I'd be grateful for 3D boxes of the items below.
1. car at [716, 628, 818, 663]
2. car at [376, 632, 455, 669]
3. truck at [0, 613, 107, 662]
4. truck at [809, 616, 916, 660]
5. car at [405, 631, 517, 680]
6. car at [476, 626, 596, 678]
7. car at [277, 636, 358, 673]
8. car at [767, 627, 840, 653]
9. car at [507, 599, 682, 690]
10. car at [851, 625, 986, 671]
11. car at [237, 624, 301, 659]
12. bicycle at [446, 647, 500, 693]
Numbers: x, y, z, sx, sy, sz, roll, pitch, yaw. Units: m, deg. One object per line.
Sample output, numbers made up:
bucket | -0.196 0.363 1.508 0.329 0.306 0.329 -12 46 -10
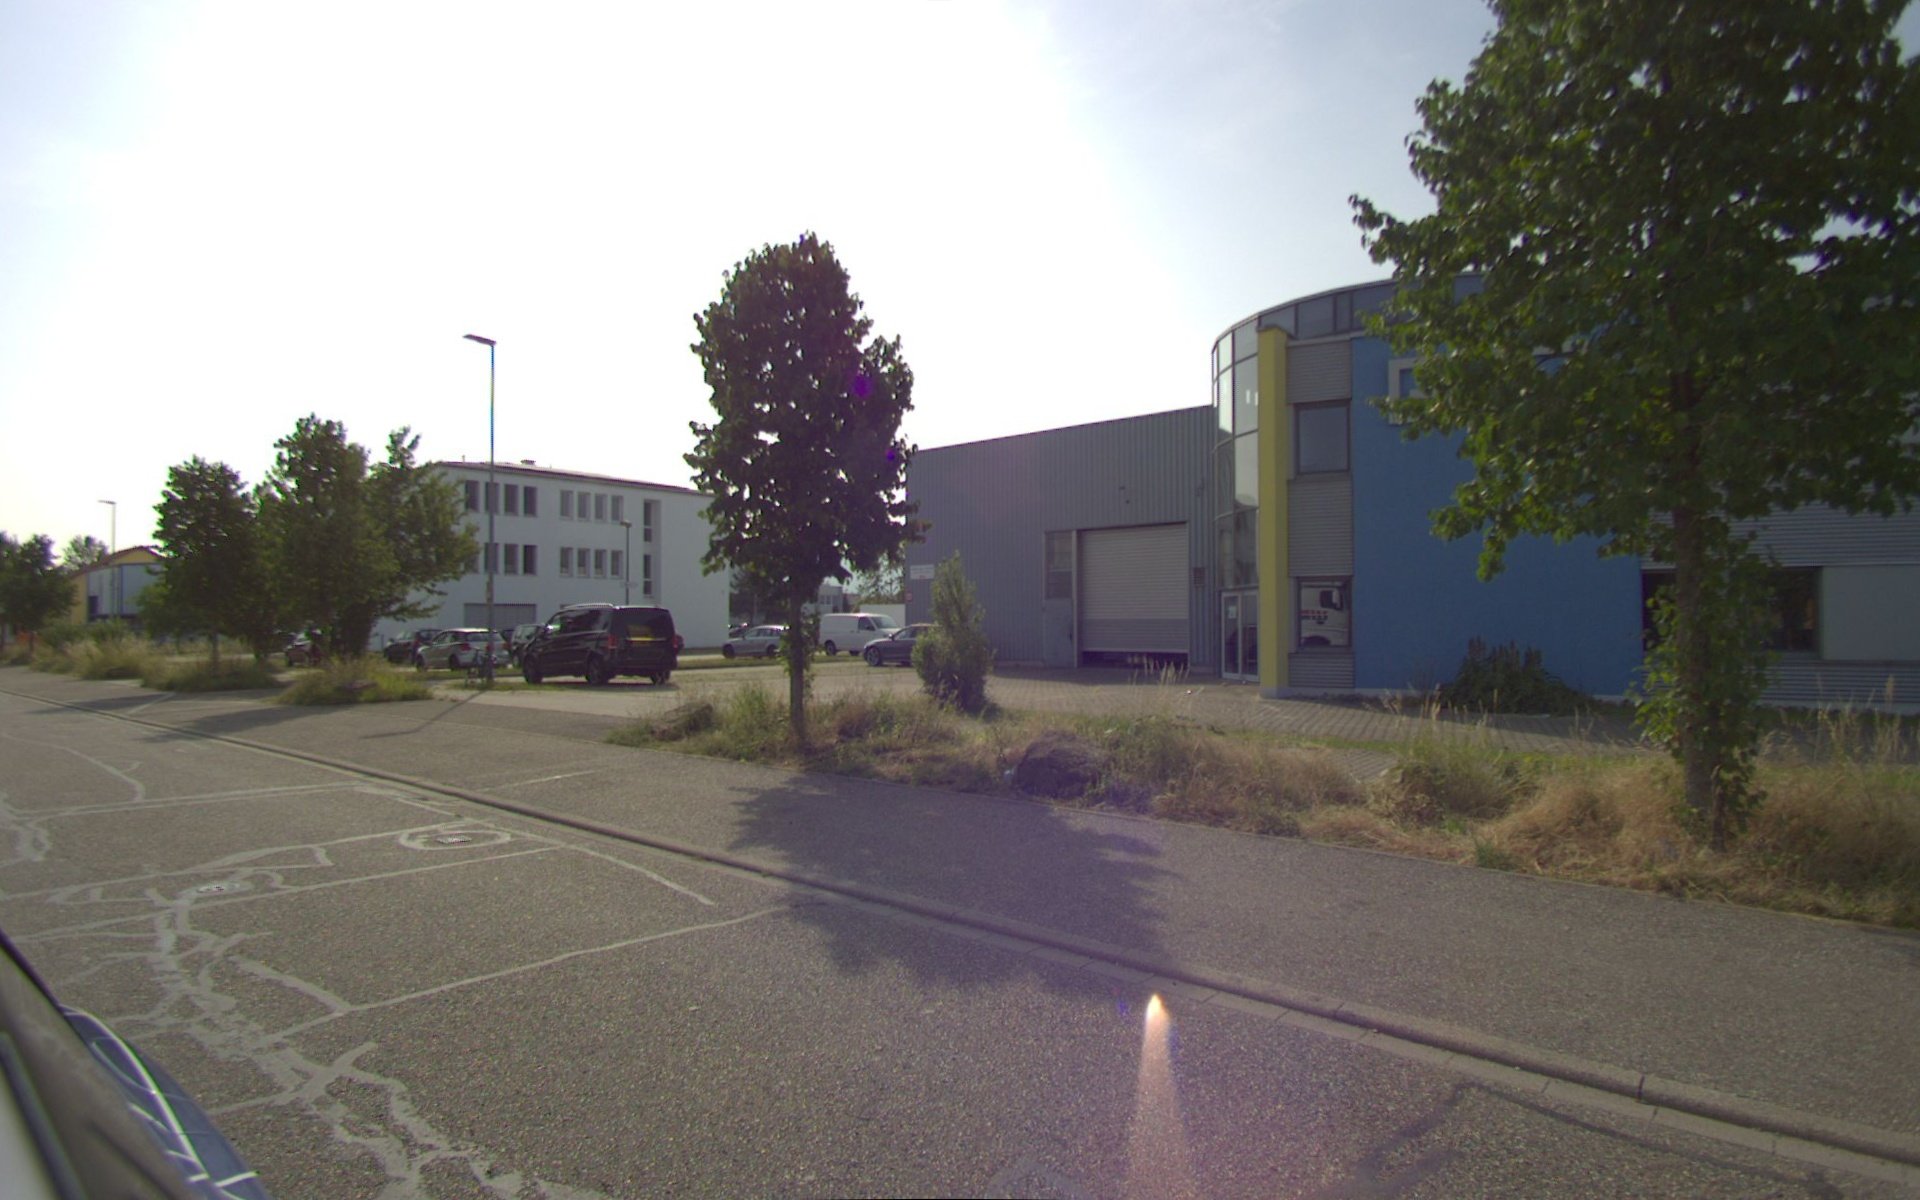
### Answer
car | -8.143 1.893 42.518 4.375 1.383 1.716 -2 -2 37
car | -23.253 2.124 43.161 3.917 1.479 1.736 -2 -2 42
truck | -56.884 2.319 61.503 2.480 2.855 8.842 1 -3 0
truck | -4.555 1.757 46.889 4.946 1.918 1.974 -2 -2 38
car | -16.154 1.757 32.683 3.913 1.460 1.768 -2 -2 39
car | -14.356 1.710 34.179 4.505 1.619 1.922 -2 -2 40
car | -25.726 2.148 40.493 3.917 1.420 1.736 -2 -2 42
car | -9.206 2.325 59.393 4.562 1.479 1.736 -2 -2 42
car | -9.110 1.102 25.017 4.987 2.029 1.862 -2 -3 41
car | -1.487 1.618 34.746 4.778 1.472 1.697 -2 -2 41
car | -38.843 2.298 56.833 4.694 1.852 1.972 -2 -2 42
bicycle | -11.273 1.598 23.395 1.871 0.986 0.534 -2 -2 45
